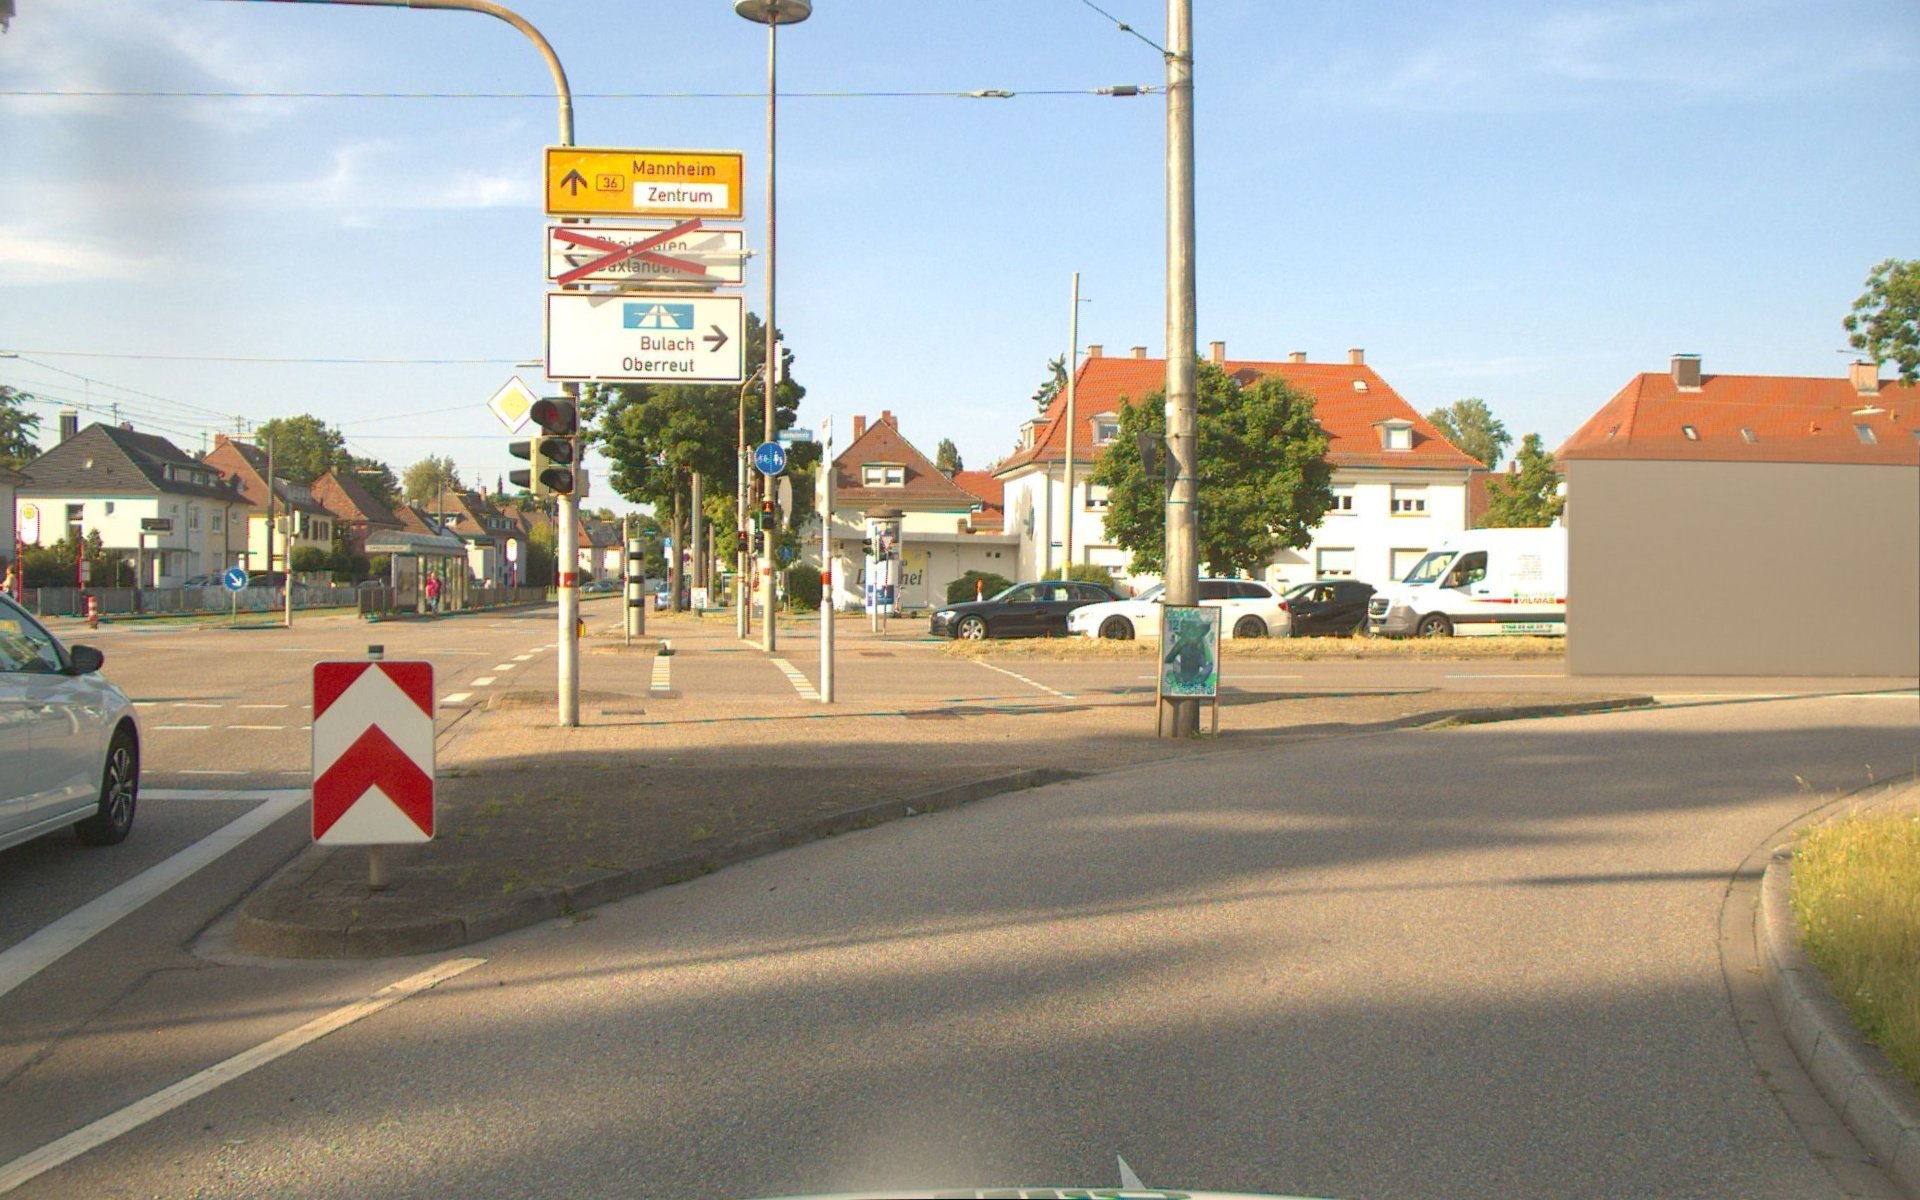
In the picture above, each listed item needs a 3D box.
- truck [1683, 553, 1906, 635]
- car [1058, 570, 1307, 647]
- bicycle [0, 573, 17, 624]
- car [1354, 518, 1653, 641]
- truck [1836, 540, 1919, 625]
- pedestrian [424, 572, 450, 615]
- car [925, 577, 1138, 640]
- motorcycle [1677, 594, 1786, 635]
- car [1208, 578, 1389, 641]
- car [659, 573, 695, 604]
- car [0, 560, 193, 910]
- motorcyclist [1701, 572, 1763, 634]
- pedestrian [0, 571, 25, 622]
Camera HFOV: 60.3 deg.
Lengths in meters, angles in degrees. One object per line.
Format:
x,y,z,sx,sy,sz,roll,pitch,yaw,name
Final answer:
27.721,-0.253,55.144,2.260,2.568,6.254,0,1,-44,truck
4.726,0.176,35.425,5.001,1.590,1.836,0,1,-9,car
-26.886,-0.081,44.842,2.043,1.371,1.102,2,-1,-19,bicycle
12.045,-0.433,36.785,6.094,2.628,1.996,0,0,-10,car
33.518,-0.602,56.758,5.954,2.904,1.890,0,0,34,truck
-19.056,-0.226,60.269,0.739,1.525,0.826,2,-1,-8,pedestrian
1.634,0.182,38.544,4.735,1.436,1.712,0,1,-9,car
17.219,0.318,36.915,2.230,0.882,0.689,0,0,-11,motorcycle
8.078,0.212,39.574,3.913,1.478,1.712,0,1,-9,car
-13.844,-0.562,80.938,1.644,1.422,3.991,2,0,-9,car
-4.965,0.549,7.599,1.626,1.468,4.004,1,0,-11,car
17.217,0.064,36.908,1.046,1.375,0.678,0,0,-11,motorcyclist
-27.359,-0.106,47.623,0.568,1.456,0.545,2,-1,-13,pedestrian
